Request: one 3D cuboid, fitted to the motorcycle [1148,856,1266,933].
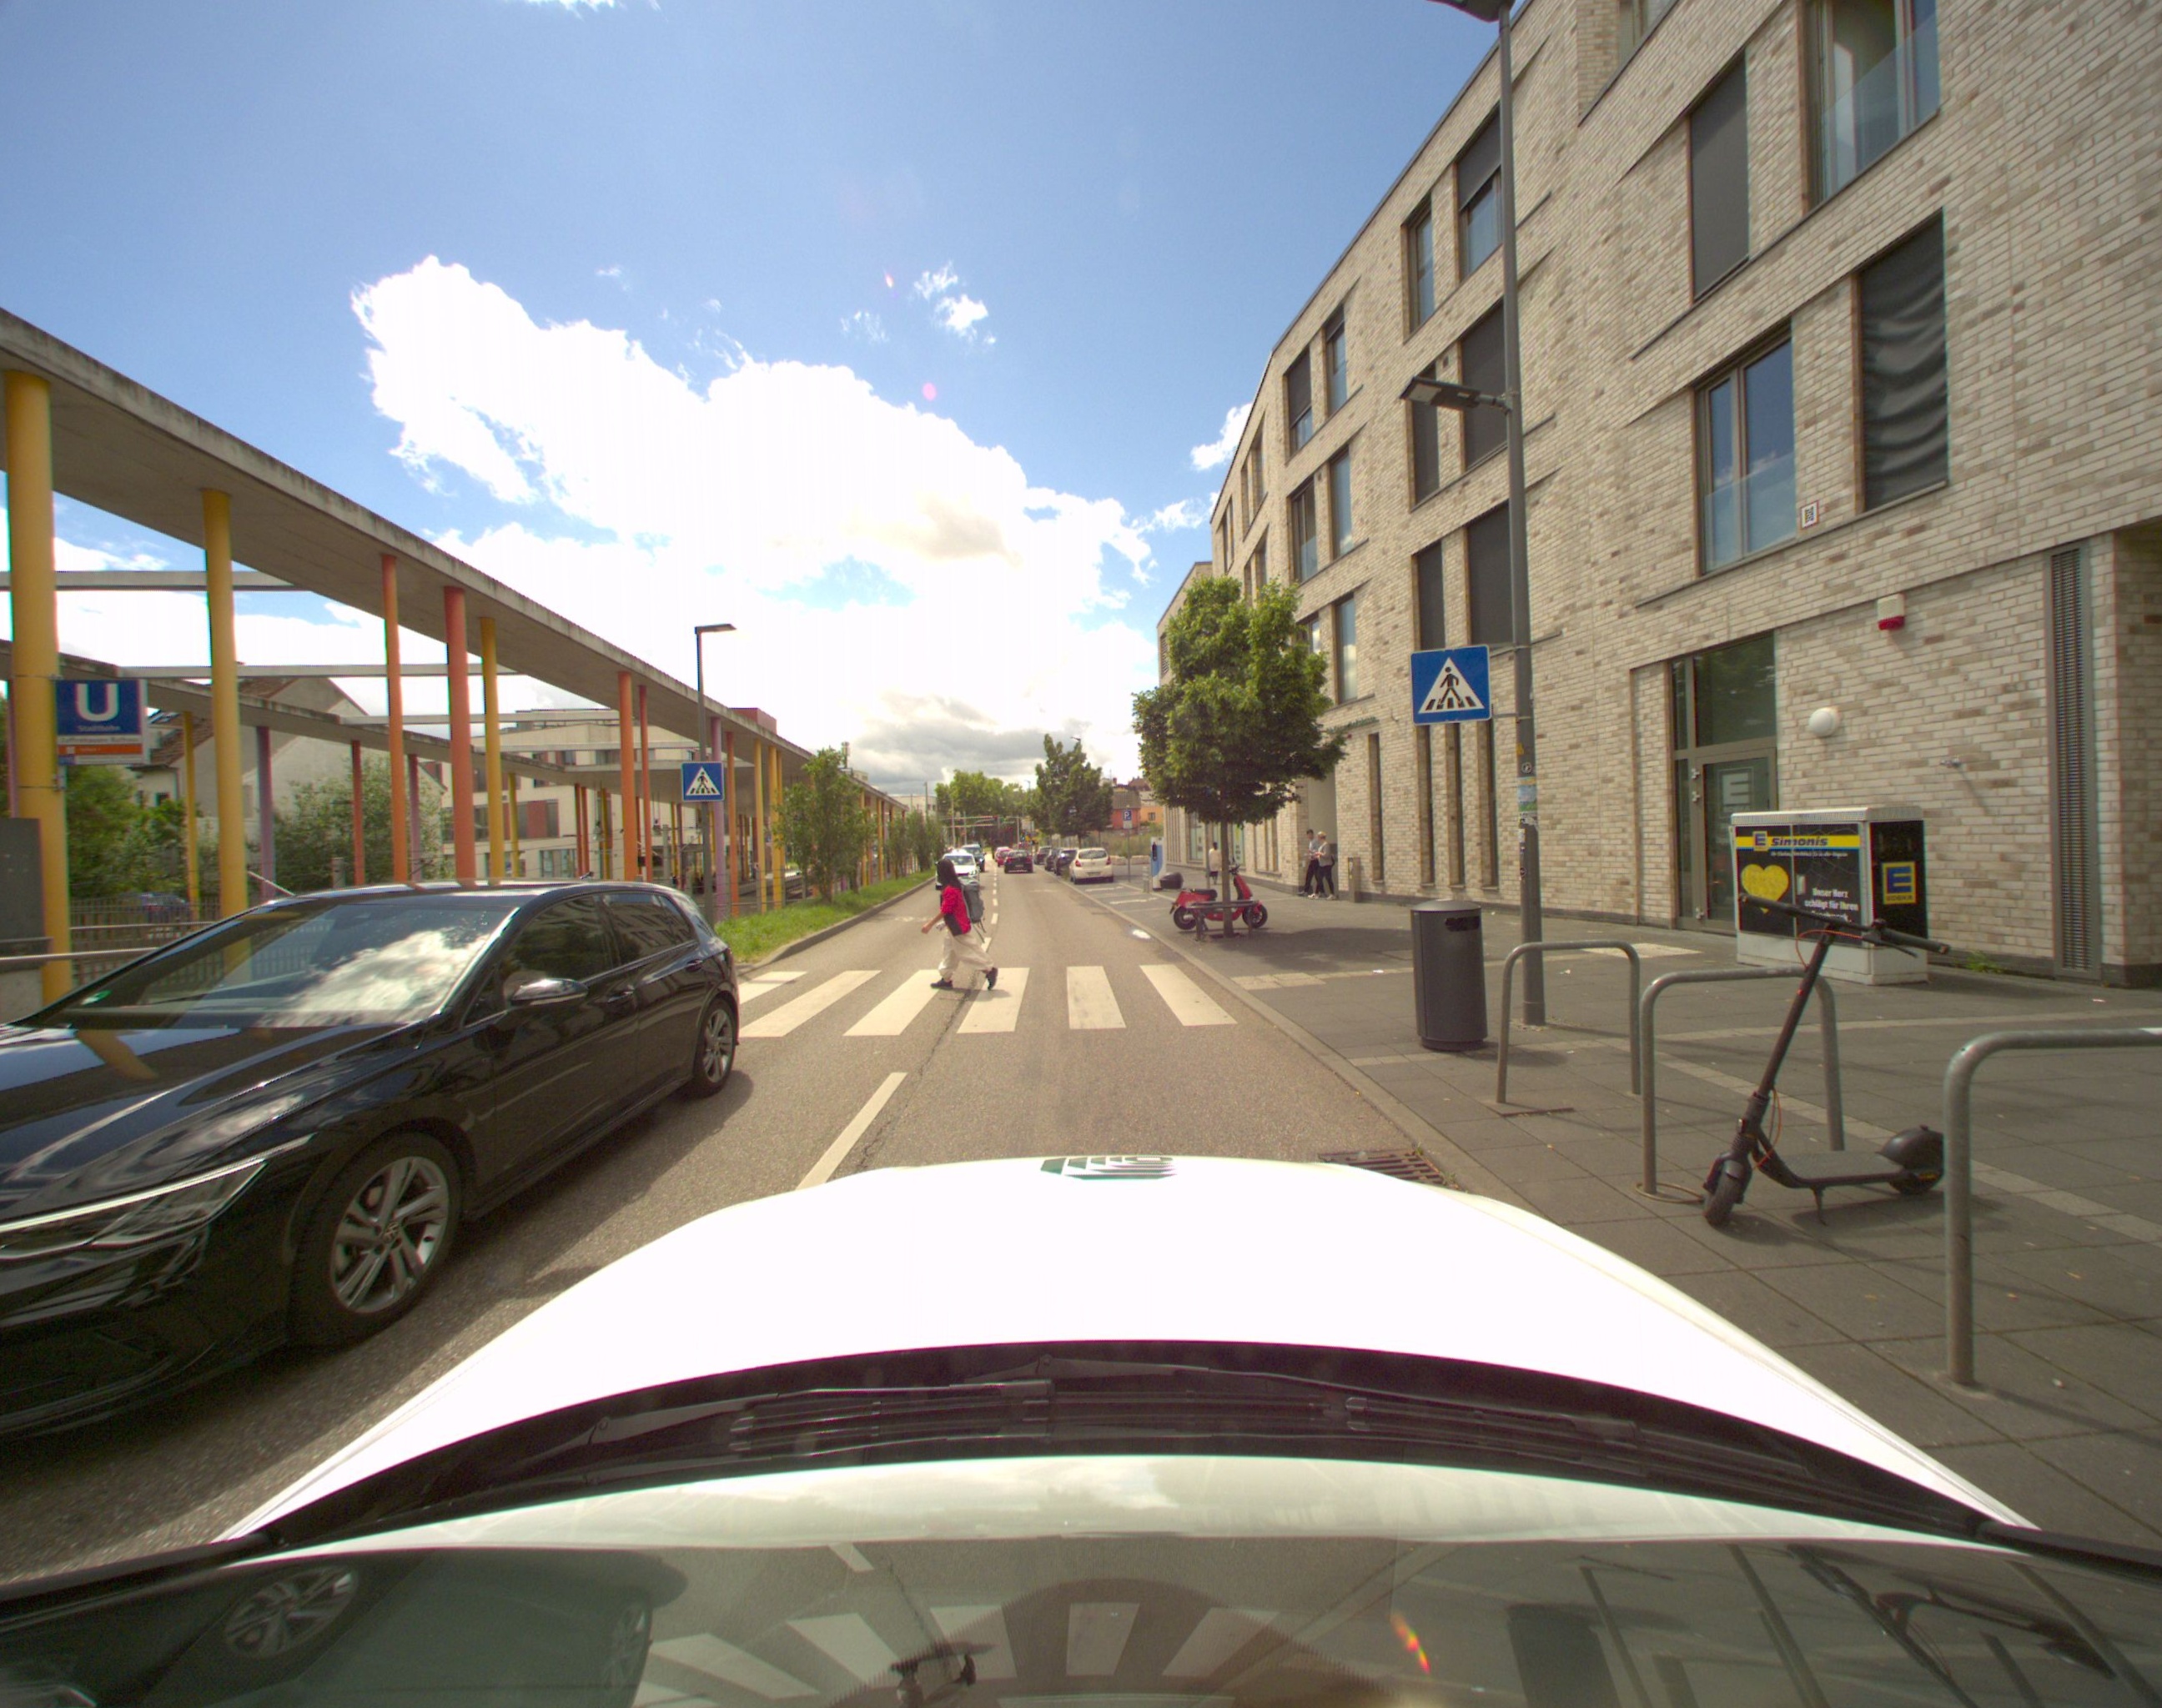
[{"bbox_3d":[2.331,0.737,15.028,2.036,1.266,0.675,-4,-1,12],"label":"motorcycle"}]

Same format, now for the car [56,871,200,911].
[{"bbox_3d":[-35.339,1.376,30.236,3.963,1.401,1.574,-1,-1,9],"label":"car"}]

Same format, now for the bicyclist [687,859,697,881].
[{"bbox_3d":[-29.454,1.215,61.635,0.482,1.593,0.680,-1,-2,-3],"label":"bicyclist"}]

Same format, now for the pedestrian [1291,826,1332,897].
[{"bbox_3d":[5.921,0.182,20.968,0.736,1.766,0.621,-3,-1,-12],"label":"pedestrian"}]

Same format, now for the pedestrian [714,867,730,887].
[{"bbox_3d":[-25.144,1.615,57.036,0.821,1.379,0.701,-1,1,-5],"label":"pedestrian"}]

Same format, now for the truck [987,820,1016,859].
[{"bbox_3d":[-10.054,-1.714,101.931,3.201,4.536,9.002,-1,-1,-8],"label":"truck"}]

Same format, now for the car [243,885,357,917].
[{"bbox_3d":[-34.939,2.105,36.464,3.963,1.337,1.574,-1,-1,9],"label":"car"}]

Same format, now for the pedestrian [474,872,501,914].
[{"bbox_3d":[-26.809,1.742,36.800,0.641,1.883,0.798,-1,-2,-6],"label":"pedestrian"}]

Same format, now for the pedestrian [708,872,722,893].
[{"bbox_3d":[-24.833,1.912,55.273,0.650,1.379,0.701,-1,1,-5],"label":"pedestrian"}]

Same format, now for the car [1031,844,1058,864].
[{"bbox_3d":[-2.987,-0.001,66.305,1.780,1.451,4.465,-4,1,-7],"label":"car"}]

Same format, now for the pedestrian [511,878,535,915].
[{"bbox_3d":[-25.591,1.943,37.372,0.641,1.662,0.729,-1,-2,-6],"label":"pedestrian"}]

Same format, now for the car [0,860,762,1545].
[{"bbox_3d":[-3.151,0.792,3.861,1.768,1.464,4.230,-1,0,-3],"label":"car"}]

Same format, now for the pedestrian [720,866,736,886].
[{"bbox_3d":[-25.159,1.560,58.057,0.821,1.379,0.701,-1,1,-5],"label":"pedestrian"}]

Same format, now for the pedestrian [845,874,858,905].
[{"bbox_3d":[-13.646,2.086,48.478,0.585,1.830,0.709,-1,-2,-4],"label":"pedestrian"}]

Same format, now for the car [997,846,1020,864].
[{"bbox_3d":[-5.976,0.060,67.138,1.710,1.393,3.800,-3,1,-7],"label":"car"}]

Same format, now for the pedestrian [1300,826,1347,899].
[{"bbox_3d":[6.002,0.211,20.204,0.735,1.766,0.753,-2,-1,-20],"label":"pedestrian"}]

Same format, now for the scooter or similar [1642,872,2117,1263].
[{"bbox_3d":[2.865,0.727,2.999,1.192,1.249,0.494,-3,-1,1],"label":"scooter or similar"}]

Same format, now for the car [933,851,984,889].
[{"bbox_3d":[-4.982,0.608,33.600,1.808,1.469,3.901,-1,0,-5],"label":"car"}]

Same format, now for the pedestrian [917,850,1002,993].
[{"bbox_3d":[-1.401,0.756,9.497,0.926,1.565,0.813,-1,-2,-8],"label":"pedestrian"}]

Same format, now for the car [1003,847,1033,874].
[{"bbox_3d":[-3.916,0.368,50.537,1.724,1.456,3.801,-3,1,-6],"label":"car"}]

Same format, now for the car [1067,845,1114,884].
[{"bbox_3d":[0.364,0.414,35.805,1.689,1.483,3.792,-3,1,-4],"label":"car"}]

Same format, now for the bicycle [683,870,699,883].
[{"bbox_3d":[-29.443,1.679,61.547,0.482,0.963,1.611,-1,-1,-3],"label":"bicycle"}]

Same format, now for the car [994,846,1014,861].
[{"bbox_3d":[-8.159,-0.078,86.179,1.886,1.465,4.059,-3,0,-7],"label":"car"}]

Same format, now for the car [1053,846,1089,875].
[{"bbox_3d":[-0.594,0.331,45.267,1.689,1.461,4.140,-3,1,-4],"label":"car"}]

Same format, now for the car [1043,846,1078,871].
[{"bbox_3d":[-1.364,0.246,51.690,1.862,1.451,4.634,-3,1,-5],"label":"car"}]

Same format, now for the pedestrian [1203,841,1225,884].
[{"bbox_3d":[4.714,0.292,28.806,0.605,1.472,0.791,-3,1,2],"label":"pedestrian"}]

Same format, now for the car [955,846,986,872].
[{"bbox_3d":[-7.282,0.306,53.874,1.918,1.604,4.615,-1,0,-8],"label":"car"}]
